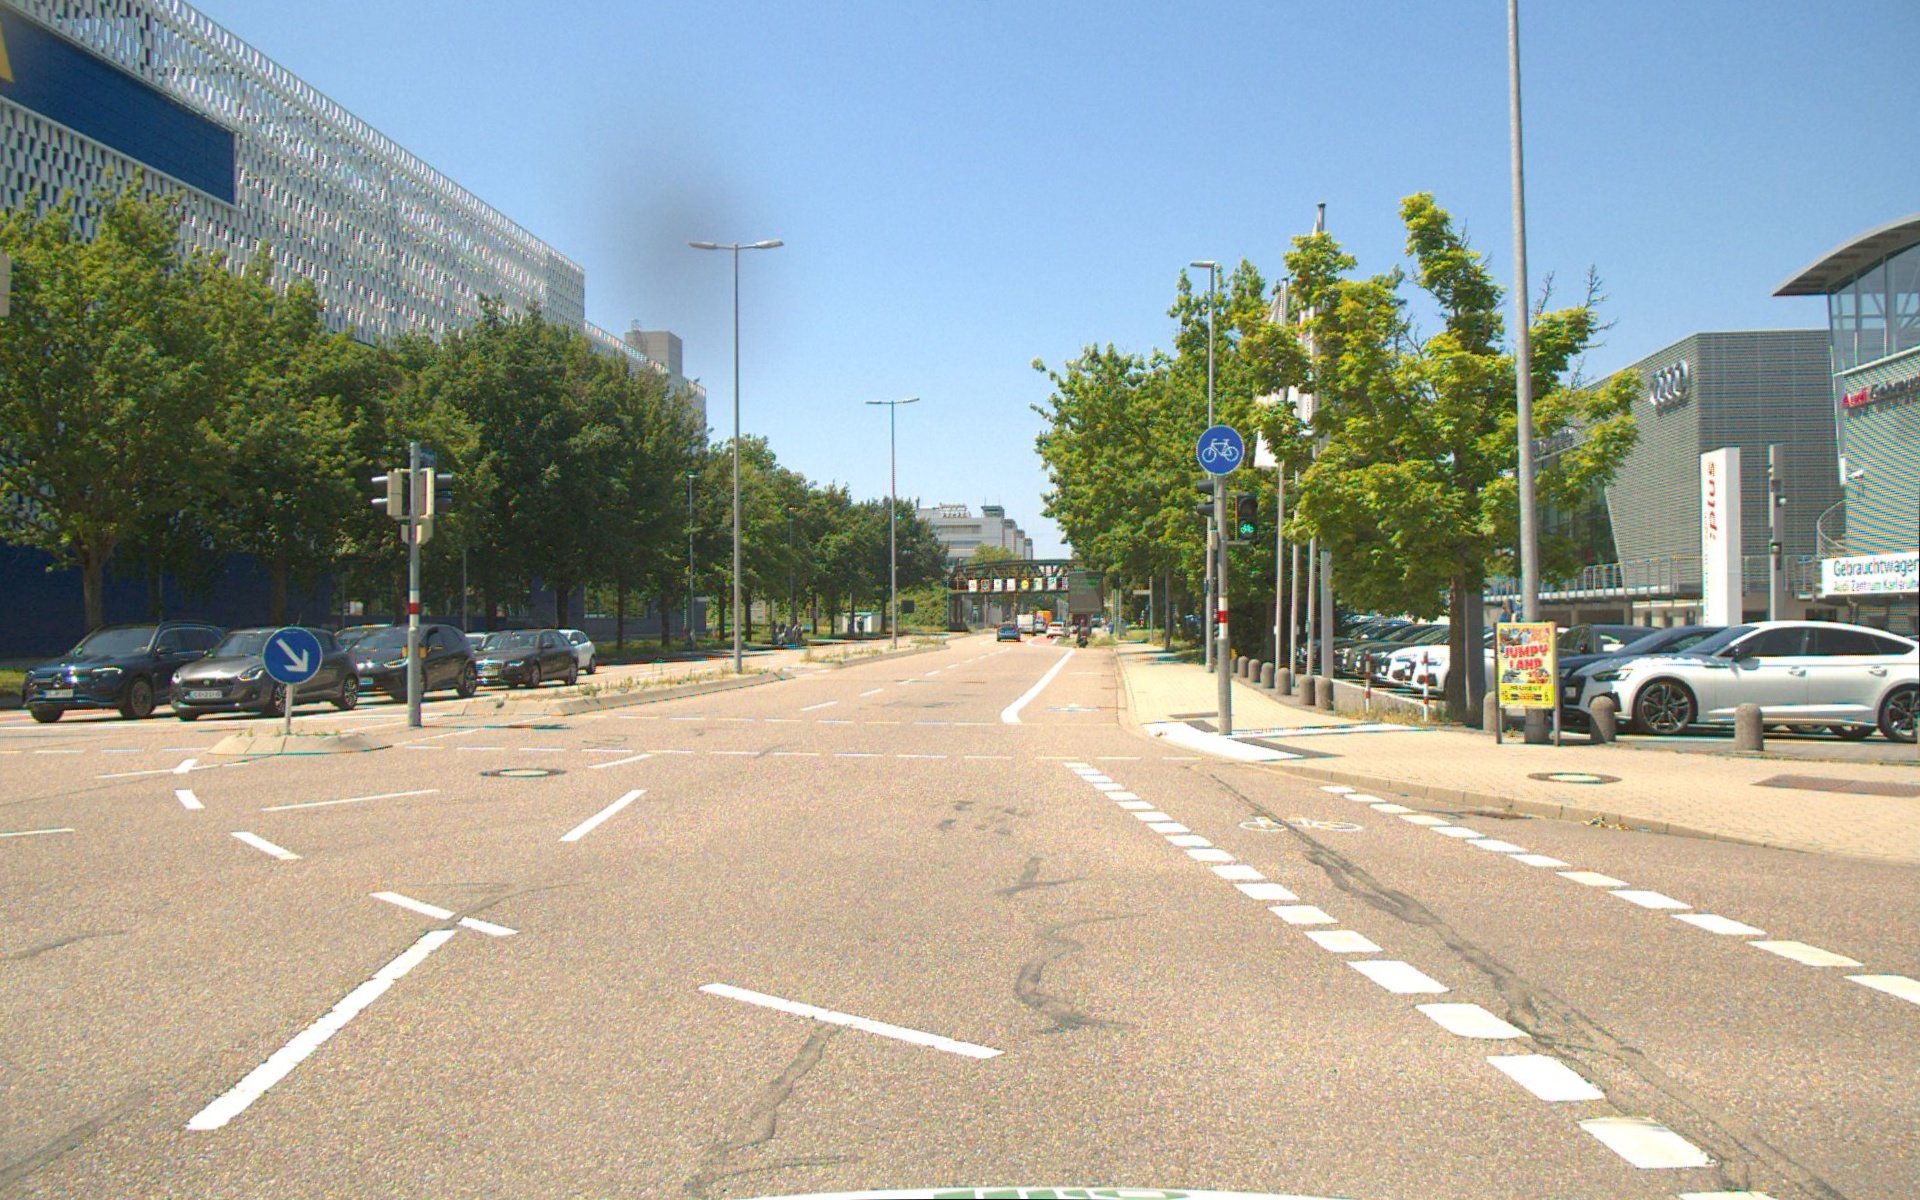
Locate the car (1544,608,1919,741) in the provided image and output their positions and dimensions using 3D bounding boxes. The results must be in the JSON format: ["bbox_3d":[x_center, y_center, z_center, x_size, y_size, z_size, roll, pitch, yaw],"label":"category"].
[{"bbox_3d":[9.740,0.893,20.316,4.495,1.415,1.870,2,-1,6],"label":"car"}]

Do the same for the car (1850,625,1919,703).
[{"bbox_3d":[21.396,1.403,35.574,3.570,1.608,1.643,2,-1,5],"label":"car"}]

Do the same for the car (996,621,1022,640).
[{"bbox_3d":[3.803,2.345,128.600,1.860,1.400,4.233,-1,-1,4],"label":"car"}]

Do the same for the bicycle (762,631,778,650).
[{"bbox_3d":[-12.296,2.614,107.030,0.624,1.153,1.971,-1,-1,4],"label":"bicycle"}]

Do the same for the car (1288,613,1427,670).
[{"bbox_3d":[11.326,1.172,47.275,3.604,1.479,1.835,2,-1,5],"label":"car"}]

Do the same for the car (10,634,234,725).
[{"bbox_3d":[-14.573,1.339,29.010,1.625,1.449,4.040,-1,-1,4],"label":"car"}]

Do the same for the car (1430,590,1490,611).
[{"bbox_3d":[32.992,0.032,109.155,3.451,1.261,1.677,2,-1,0],"label":"car"}]

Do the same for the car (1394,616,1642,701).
[{"bbox_3d":[10.311,1.067,30.806,4.010,1.388,1.875,2,-1,5],"label":"car"}]

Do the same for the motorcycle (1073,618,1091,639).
[{"bbox_3d":[6.878,1.604,93.444,0.702,1.124,1.828,1,-1,-5],"label":"motorcycle"}]

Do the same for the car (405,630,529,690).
[{"bbox_3d":[-13.424,1.598,45.343,1.709,1.447,4.625,-2,-1,4],"label":"car"}]

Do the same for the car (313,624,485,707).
[{"bbox_3d":[-11.331,1.297,33.709,1.690,1.531,4.245,-2,-1,5],"label":"car"}]

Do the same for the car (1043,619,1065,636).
[{"bbox_3d":[8.335,2.453,146.515,1.883,1.445,4.002,0,-1,4],"label":"car"}]

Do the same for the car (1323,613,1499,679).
[{"bbox_3d":[11.434,1.156,42.110,4.014,1.479,1.870,2,-1,5],"label":"car"}]

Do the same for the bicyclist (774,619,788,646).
[{"bbox_3d":[-11.300,2.066,104.422,0.729,1.715,0.952,0,-1,3],"label":"bicyclist"}]

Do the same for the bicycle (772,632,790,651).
[{"bbox_3d":[-11.295,2.605,104.470,0.724,1.145,2.435,0,-1,3],"label":"bicycle"}]

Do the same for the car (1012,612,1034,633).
[{"bbox_3d":[6.082,2.155,159.331,1.952,2.049,4.002,1,-1,4],"label":"car"}]

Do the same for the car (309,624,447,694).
[{"bbox_3d":[-13.927,1.385,39.808,1.690,1.571,3.917,-1,-1,4],"label":"car"}]

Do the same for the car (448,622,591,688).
[{"bbox_3d":[-10.726,1.312,40.625,1.690,1.471,4.723,-2,-1,7],"label":"car"}]

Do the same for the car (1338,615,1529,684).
[{"bbox_3d":[11.085,1.139,38.970,4.014,1.429,1.870,2,-1,5],"label":"car"}]

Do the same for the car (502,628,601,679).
[{"bbox_3d":[-12.950,1.675,52.673,1.690,1.471,4.454,-2,-1,4],"label":"car"}]

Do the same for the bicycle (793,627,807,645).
[{"bbox_3d":[-11.029,2.490,114.081,0.616,1.179,2.118,-2,-1,4],"label":"bicycle"}]

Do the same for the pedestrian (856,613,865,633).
[{"bbox_3d":[-9.492,2.182,158.231,0.728,1.917,0.578,0,-1,5],"label":"pedestrian"}]

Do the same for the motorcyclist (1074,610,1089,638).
[{"bbox_3d":[6.875,1.360,93.458,0.705,1.556,0.870,1,-1,-5],"label":"motorcyclist"}]

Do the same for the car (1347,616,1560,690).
[{"bbox_3d":[10.722,1.142,36.174,4.137,1.415,1.870,2,-1,5],"label":"car"}]

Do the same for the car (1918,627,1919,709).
[{"bbox_3d":[21.214,1.427,32.377,3.901,1.650,1.657,2,-1,5],"label":"car"}]

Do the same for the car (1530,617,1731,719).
[{"bbox_3d":[10.759,1.035,26.893,1.823,1.444,4.665,2,-1,7],"label":"car"}]

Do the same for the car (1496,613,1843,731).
[{"bbox_3d":[9.714,0.956,22.914,4.010,1.415,1.870,2,-1,5],"label":"car"}]

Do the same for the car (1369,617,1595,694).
[{"bbox_3d":[10.505,1.094,33.523,4.013,1.372,1.870,2,-1,5],"label":"car"}]

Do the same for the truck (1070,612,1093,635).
[{"bbox_3d":[13.768,2.611,187.197,2.407,2.452,7.137,1,0,5],"label":"truck"}]

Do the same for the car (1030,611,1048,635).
[{"bbox_3d":[9.683,2.829,201.979,2.029,2.904,6.768,-1,-1,4],"label":"car"}]

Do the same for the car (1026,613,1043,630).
[{"bbox_3d":[8.463,2.388,187.296,1.855,1.847,4.002,-1,0,4],"label":"car"}]

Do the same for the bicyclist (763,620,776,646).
[{"bbox_3d":[-12.319,2.130,106.954,0.623,1.610,0.885,-1,-1,4],"label":"bicyclist"}]

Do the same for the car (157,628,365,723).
[{"bbox_3d":[-11.638,1.221,27.789,1.609,1.413,3.717,-2,-1,5],"label":"car"}]

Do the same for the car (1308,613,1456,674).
[{"bbox_3d":[11.345,1.161,44.654,3.604,1.479,1.835,2,-1,5],"label":"car"}]
